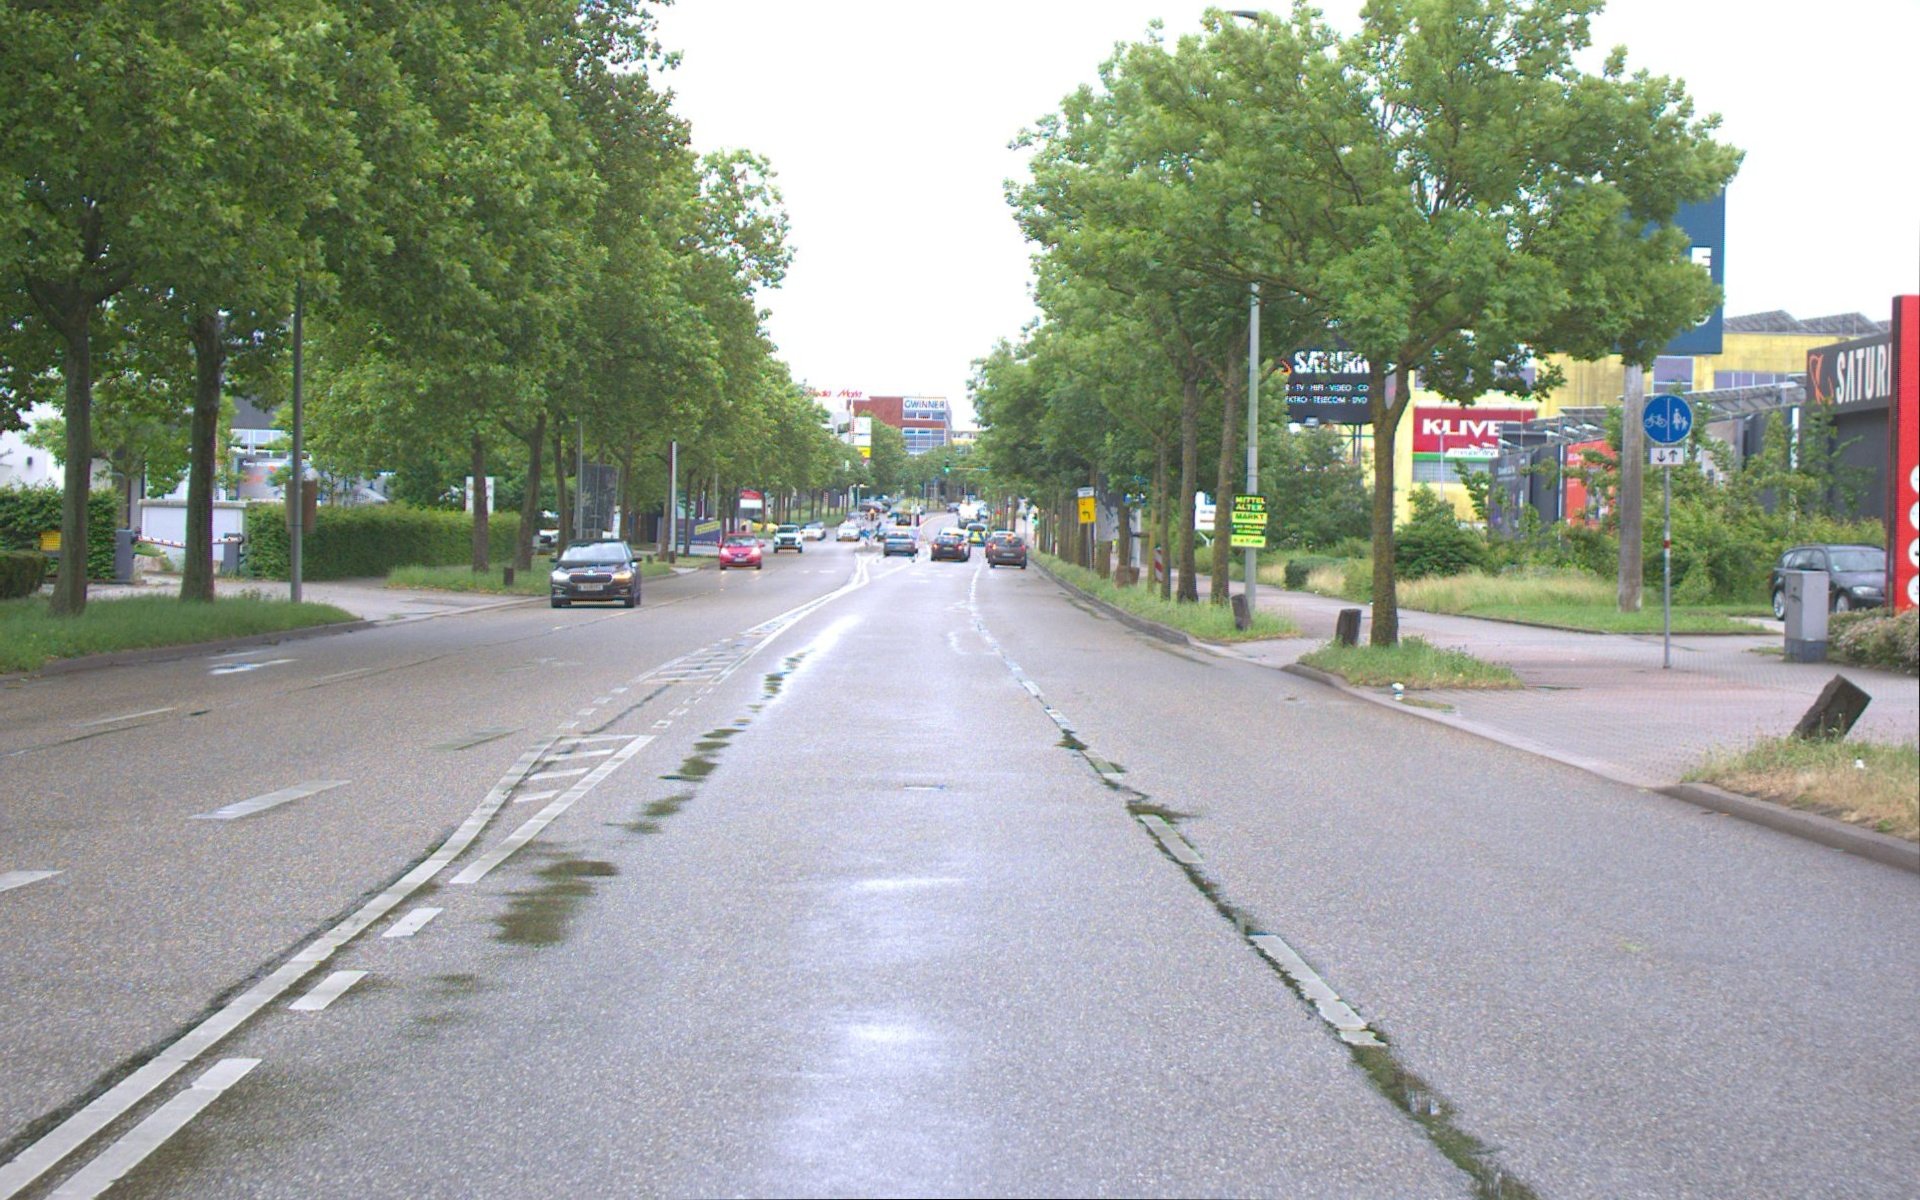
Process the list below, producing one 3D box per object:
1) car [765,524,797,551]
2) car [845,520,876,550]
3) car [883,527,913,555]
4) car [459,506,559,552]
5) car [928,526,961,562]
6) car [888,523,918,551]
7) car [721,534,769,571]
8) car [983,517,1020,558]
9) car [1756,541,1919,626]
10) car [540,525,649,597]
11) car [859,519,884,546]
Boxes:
[{"bbox_3d":[-11.706,-4.106,225.122,1.704,1.731,4.000,1,1,2],"label":"car"},{"bbox_3d":[-6.637,-4.337,229.063,1.993,2.007,4.000,1,1,-1],"label":"car"},{"bbox_3d":[-3.879,-3.721,215.847,1.745,1.695,4.000,1,1,1],"label":"car"},{"bbox_3d":[-19.105,-2.998,145.627,3.987,1.918,1.826,0,0,1],"label":"car"},{"bbox_3d":[-0.863,-3.141,193.026,1.745,2.007,4.000,0,1,1],"label":"car"},{"bbox_3d":[-3.804,-4.230,230.465,1.891,1.870,4.124,1,1,0],"label":"car"},{"bbox_3d":[-8.879,-1.967,142.051,1.726,1.512,3.821,1,1,0],"label":"car"},{"bbox_3d":[2.070,-3.131,171.466,1.745,2.007,4.000,1,1,1],"label":"car"},{"bbox_3d":[16.031,-0.322,62.322,1.577,1.423,4.267,1,2,-9],"label":"car"},{"bbox_3d":[-7.620,-0.841,71.949,1.804,1.458,3.846,0,1,1],"label":"car"},{"bbox_3d":[-6.659,-5.081,257.687,1.826,2.007,4.001,1,1,-2],"label":"car"}]
